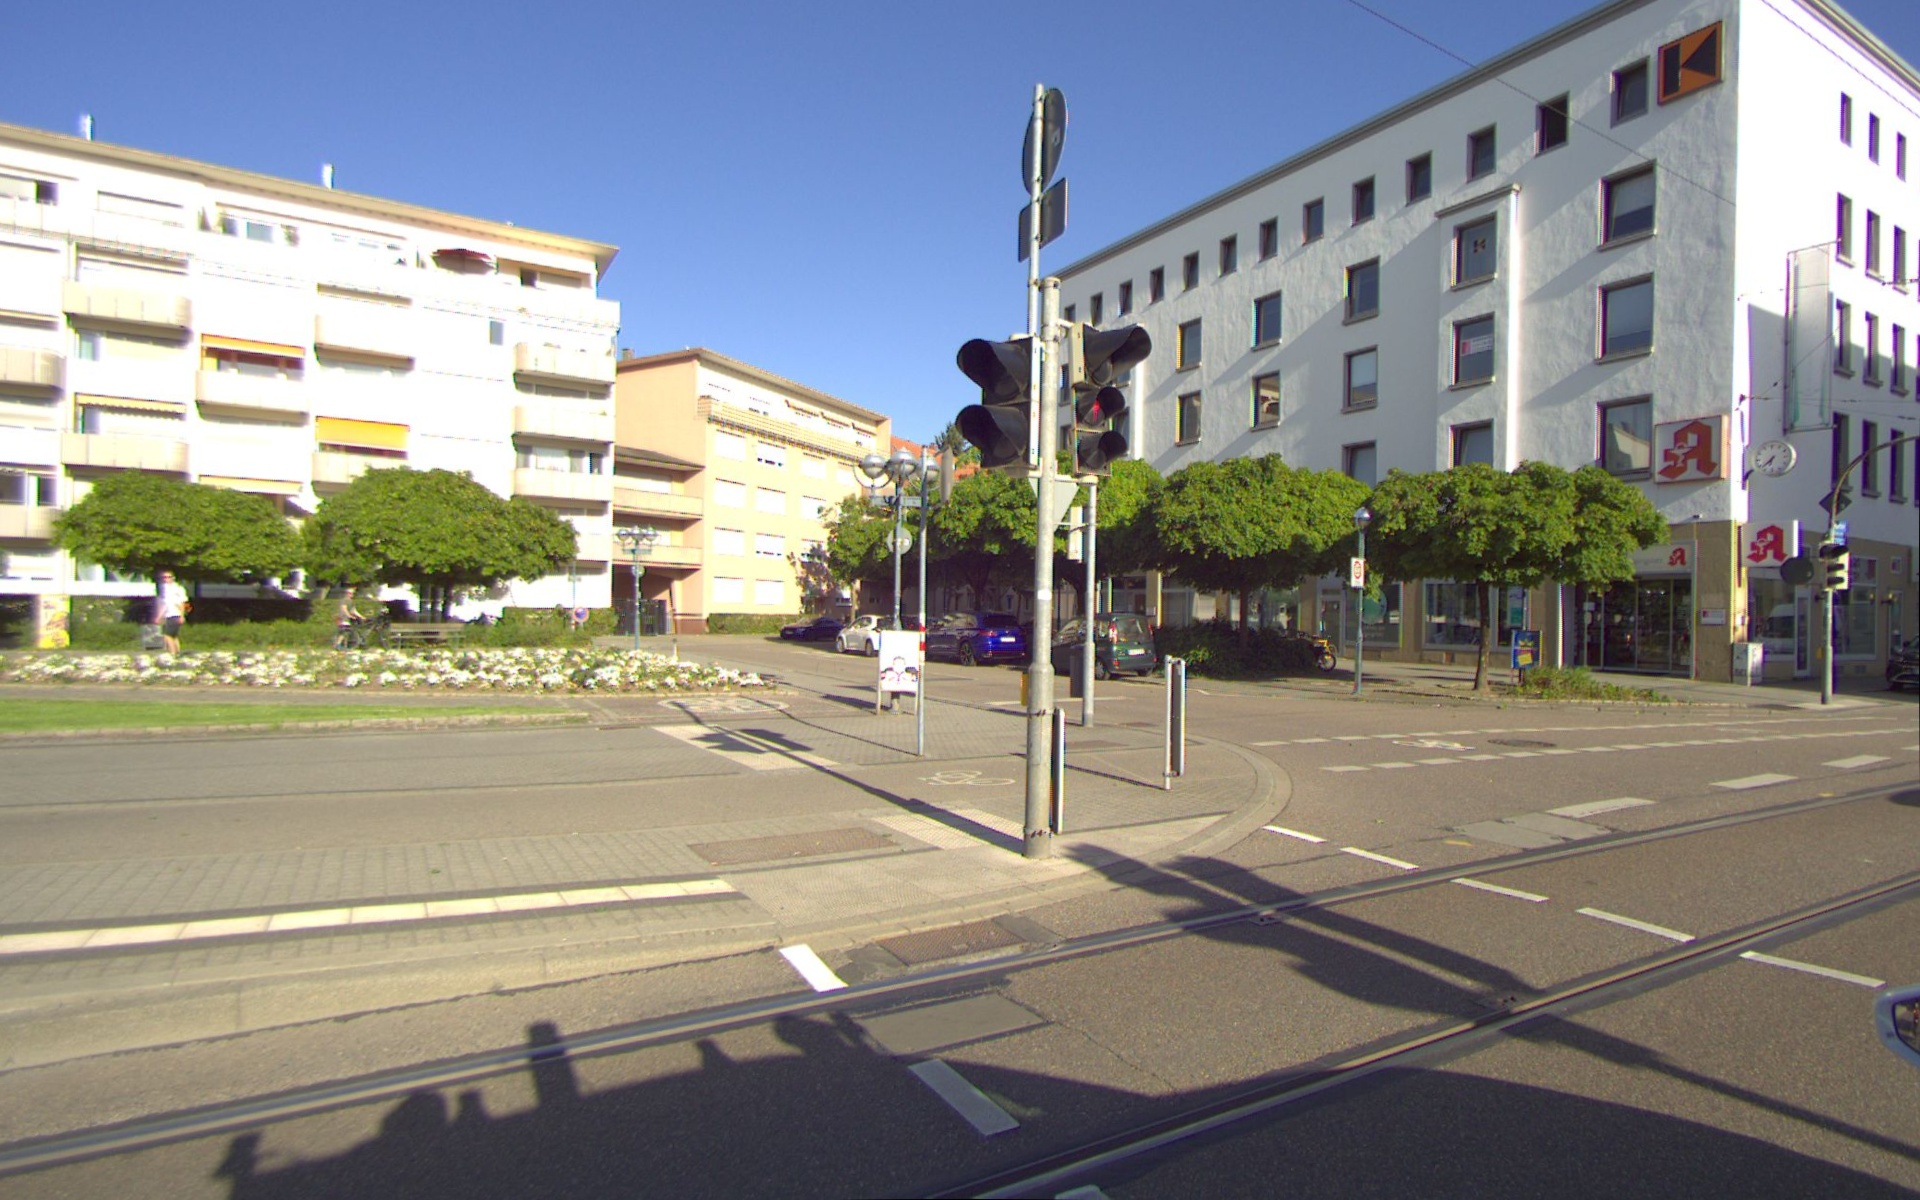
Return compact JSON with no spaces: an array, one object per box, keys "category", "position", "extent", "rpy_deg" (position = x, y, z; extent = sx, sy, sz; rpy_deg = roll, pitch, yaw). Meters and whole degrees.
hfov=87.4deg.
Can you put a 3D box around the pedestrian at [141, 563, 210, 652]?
[{"category":"pedestrian","position":[-16.742,0.173,21.456],"extent":[0.856,1.841,0.944],"rpy_deg":[1,-1,-19]}]

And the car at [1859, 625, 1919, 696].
[{"category":"car","position":[23.997,1.493,24.399],"extent":[4.353,1.590,1.983],"rpy_deg":[2,2,-32]}]

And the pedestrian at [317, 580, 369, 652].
[{"category":"pedestrian","position":[-17.964,0.476,29.259],"extent":[1.219,2.040,1.214],"rpy_deg":[1,-1,-30]}]

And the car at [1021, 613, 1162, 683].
[{"category":"car","position":[3.508,1.245,27.441],"extent":[1.804,1.728,3.968],"rpy_deg":[1,-1,-30]}]

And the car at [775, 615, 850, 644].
[{"category":"car","position":[-8.253,1.644,56.585],"extent":[1.886,1.514,4.343],"rpy_deg":[1,-1,31]}]

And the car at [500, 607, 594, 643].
[{"category":"car","position":[-16.264,0.987,39.568],"extent":[3.271,1.372,1.638],"rpy_deg":[1,-1,-29]}]

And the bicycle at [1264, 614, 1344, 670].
[{"category":"bicycle","position":[10.318,1.244,30.126],"extent":[2.585,1.628,0.616],"rpy_deg":[1,-1,-26]}]

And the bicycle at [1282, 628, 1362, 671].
[{"category":"bicycle","position":[10.645,1.437,29.482],"extent":[2.586,1.206,0.615],"rpy_deg":[1,-1,-27]}]

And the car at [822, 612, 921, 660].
[{"category":"car","position":[-3.388,1.305,37.563],"extent":[1.835,1.628,4.581],"rpy_deg":[1,-1,-32]}]

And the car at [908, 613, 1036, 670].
[{"category":"car","position":[0.291,1.277,32.420],"extent":[1.978,1.684,4.581],"rpy_deg":[1,-1,-32]}]

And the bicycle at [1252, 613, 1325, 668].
[{"category":"bicycle","position":[10.075,1.241,30.785],"extent":[2.591,1.628,0.614],"rpy_deg":[1,-1,-32]}]
